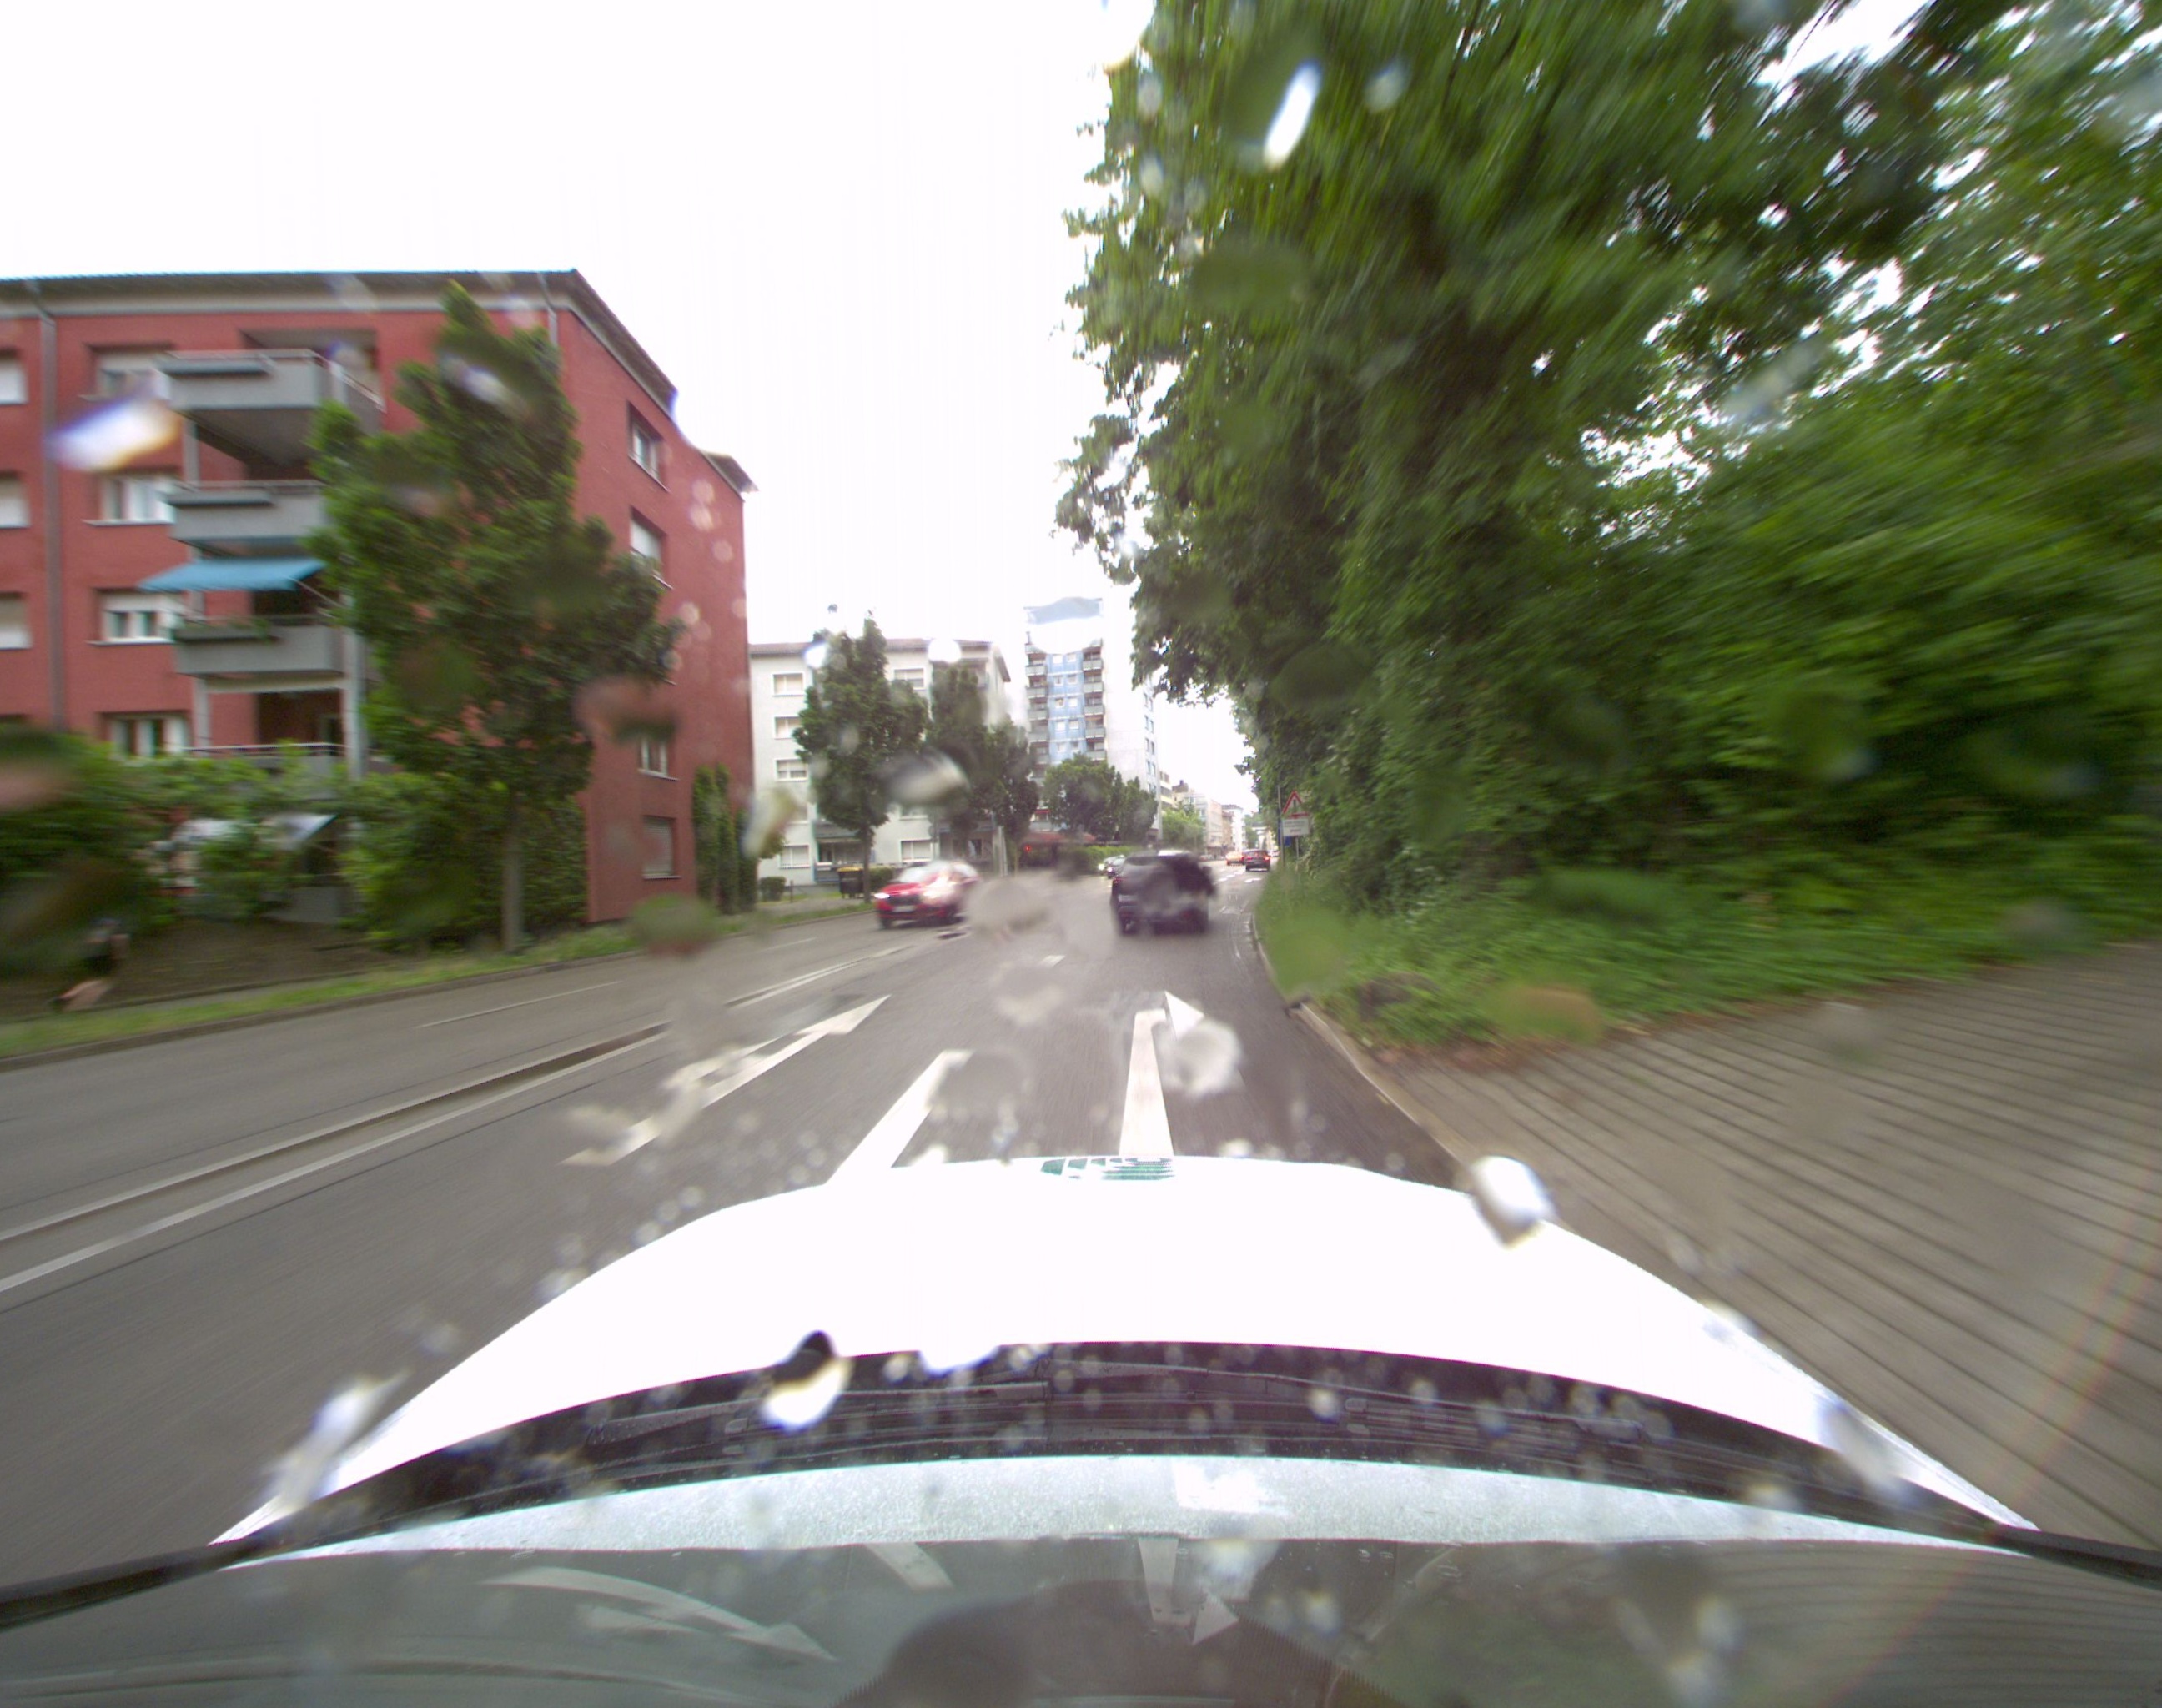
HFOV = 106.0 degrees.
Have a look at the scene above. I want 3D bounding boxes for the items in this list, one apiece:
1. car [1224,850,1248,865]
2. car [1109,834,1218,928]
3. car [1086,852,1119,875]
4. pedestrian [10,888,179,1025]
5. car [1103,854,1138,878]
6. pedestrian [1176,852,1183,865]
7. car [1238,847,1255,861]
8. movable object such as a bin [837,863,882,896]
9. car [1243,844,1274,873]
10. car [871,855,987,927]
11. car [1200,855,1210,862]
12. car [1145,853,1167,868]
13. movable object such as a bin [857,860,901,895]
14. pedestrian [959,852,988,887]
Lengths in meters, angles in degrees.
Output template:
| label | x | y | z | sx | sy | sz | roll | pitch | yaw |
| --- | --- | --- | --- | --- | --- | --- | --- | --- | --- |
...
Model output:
| label | x | y | z | sx | sy | sz | roll | pitch | yaw |
| --- | --- | --- | --- | --- | --- | --- | --- | --- | --- |
| car | 16.288 | 0.355 | 85.467 | 2.051 | 1.464 | 4.605 | -2 | 0 | 15 |
| car | 1.611 | 0.495 | 17.169 | 1.952 | 1.653 | 4.002 | -3 | 0 | 2 |
| car | 1.799 | 0.716 | 65.407 | 1.862 | 1.602 | 4.477 | -4 | 0 | 10 |
| pedestrian | -12.052 | 1.211 | 9.992 | 0.689 | 1.517 | 1.071 | -3 | 0 | 5 |
| car | 2.727 | 0.762 | 55.079 | 1.830 | 1.385 | 4.371 | -4 | 0 | 9 |
| pedestrian | 15.336 | 0.700 | 126.867 | 0.935 | 2.013 | 0.888 | -4 | -1 | 5 |
| car | 19.250 | -0.023 | 94.579 | 1.731 | 1.487 | 4.178 | -3 | 0 | 14 |
| movable object such as a bin | -9.773 | 1.118 | 36.008 | 1.150 | 1.331 | 1.971 | -3 | 0 | 8 |
| car | 13.449 | 0.316 | 61.608 | 1.978 | 2.013 | 4.017 | -3 | 0 | 16 |
| car | -3.675 | 0.837 | 20.419 | 1.667 | 1.563 | 4.150 | -1 | 0 | 7 |
| car | 25.671 | 0.916 | 168.937 | 1.661 | 1.478 | 3.621 | -4 | -1 | 13 |
| car | 8.249 | 0.666 | 88.950 | 1.862 | 1.390 | 4.641 | -4 | 0 | 11 |
| movable object such as a bin | -9.444 | 1.077 | 38.167 | 1.208 | 1.484 | 2.092 | -3 | 0 | 8 |
| pedestrian | -5.831 | 0.811 | 44.194 | 1.127 | 1.804 | 1.267 | -3 | 0 | 11 |
